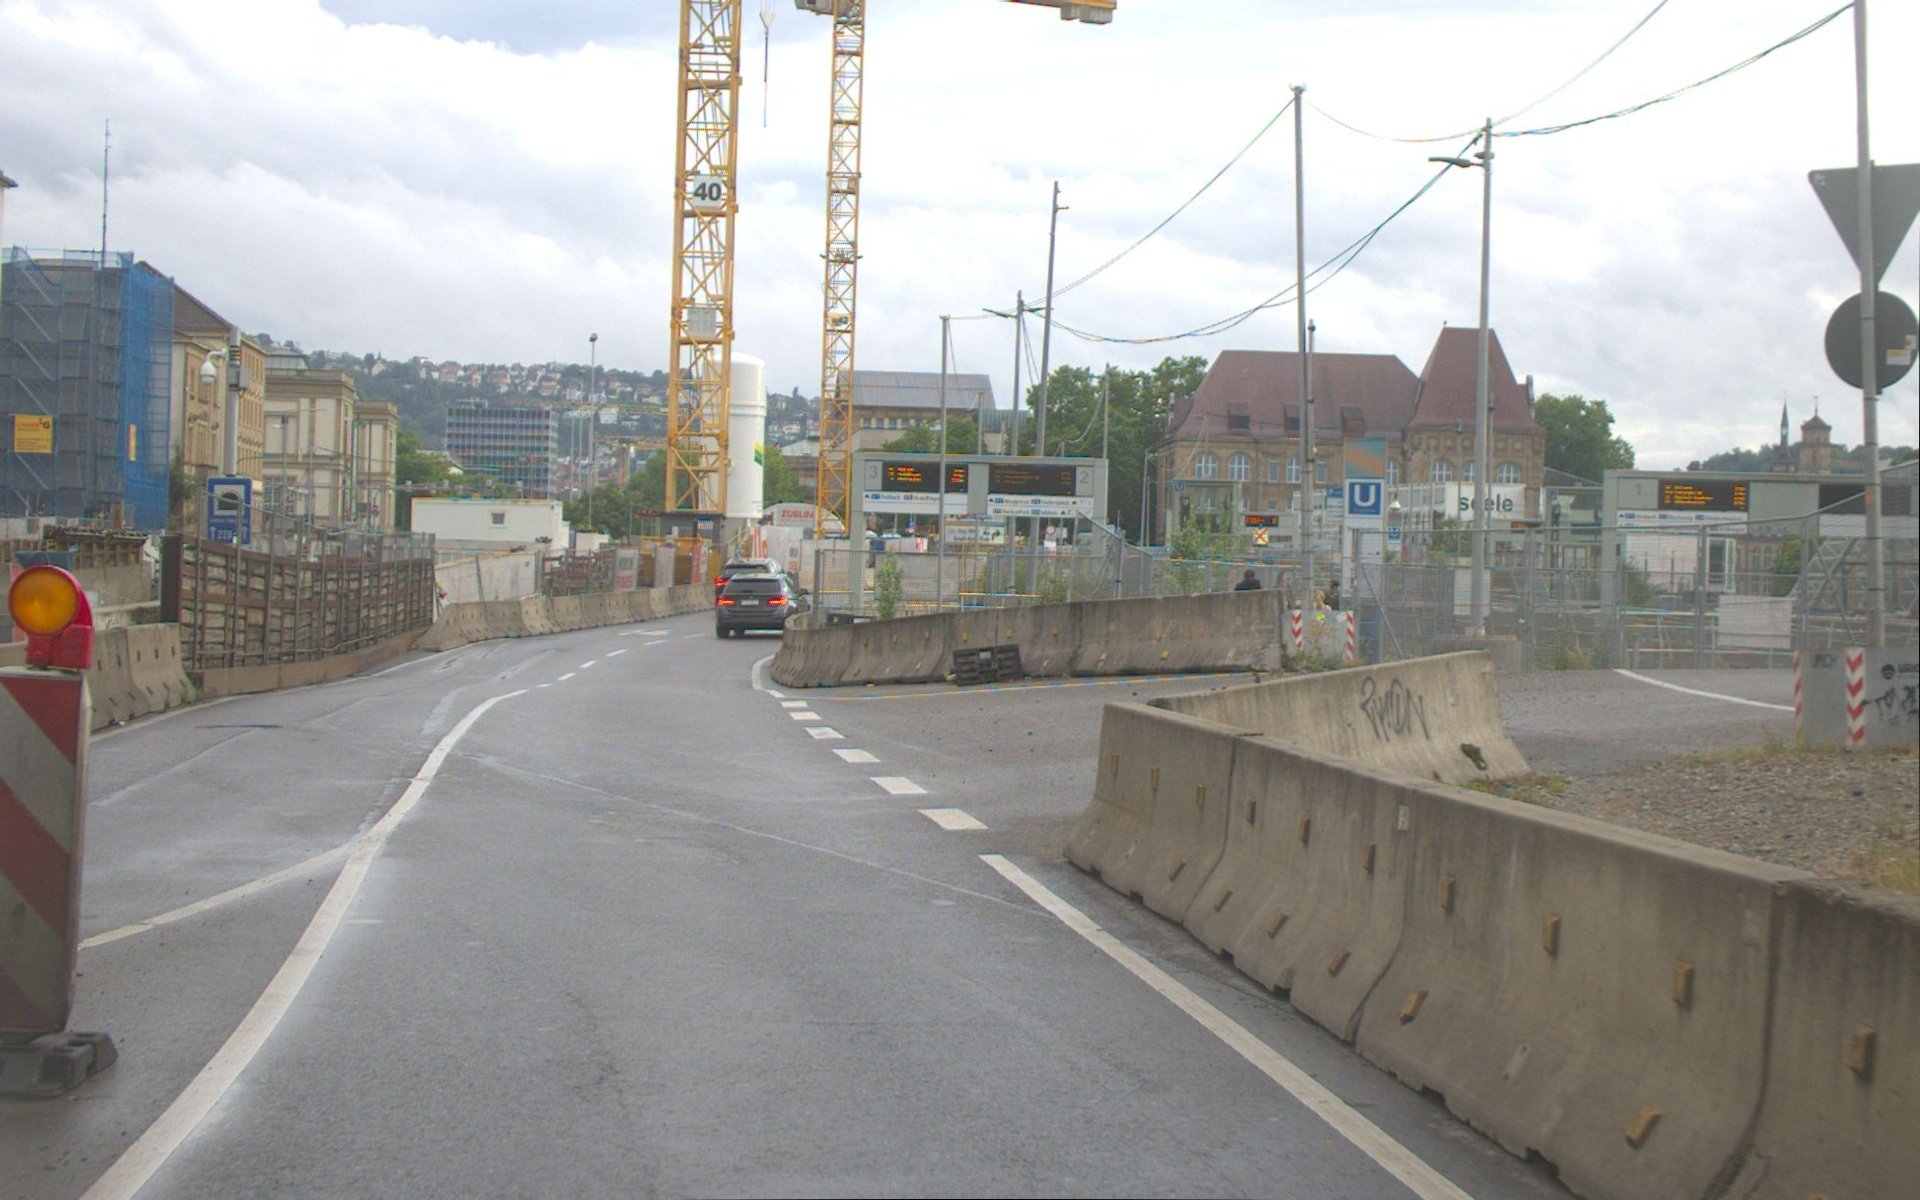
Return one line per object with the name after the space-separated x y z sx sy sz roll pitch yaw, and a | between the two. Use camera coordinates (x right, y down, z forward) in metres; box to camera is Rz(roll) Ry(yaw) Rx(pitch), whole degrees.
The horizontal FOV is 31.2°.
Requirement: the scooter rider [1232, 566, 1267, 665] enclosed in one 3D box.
5.181 0.266 61.559 0.521 1.749 0.699 1 1 12 | scooter rider

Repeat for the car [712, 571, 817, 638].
-4.429 0.098 78.547 1.863 1.428 4.656 1 0 3 | car

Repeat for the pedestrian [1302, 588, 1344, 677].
7.350 0.659 69.626 0.689 1.772 1.023 1 0 -2 | pedestrian

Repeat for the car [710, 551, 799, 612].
-5.886 -0.540 98.964 1.863 1.655 4.655 2 1 5 | car

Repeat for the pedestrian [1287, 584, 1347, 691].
6.006 0.630 57.914 0.689 1.772 0.816 1 -1 -21 | pedestrian
